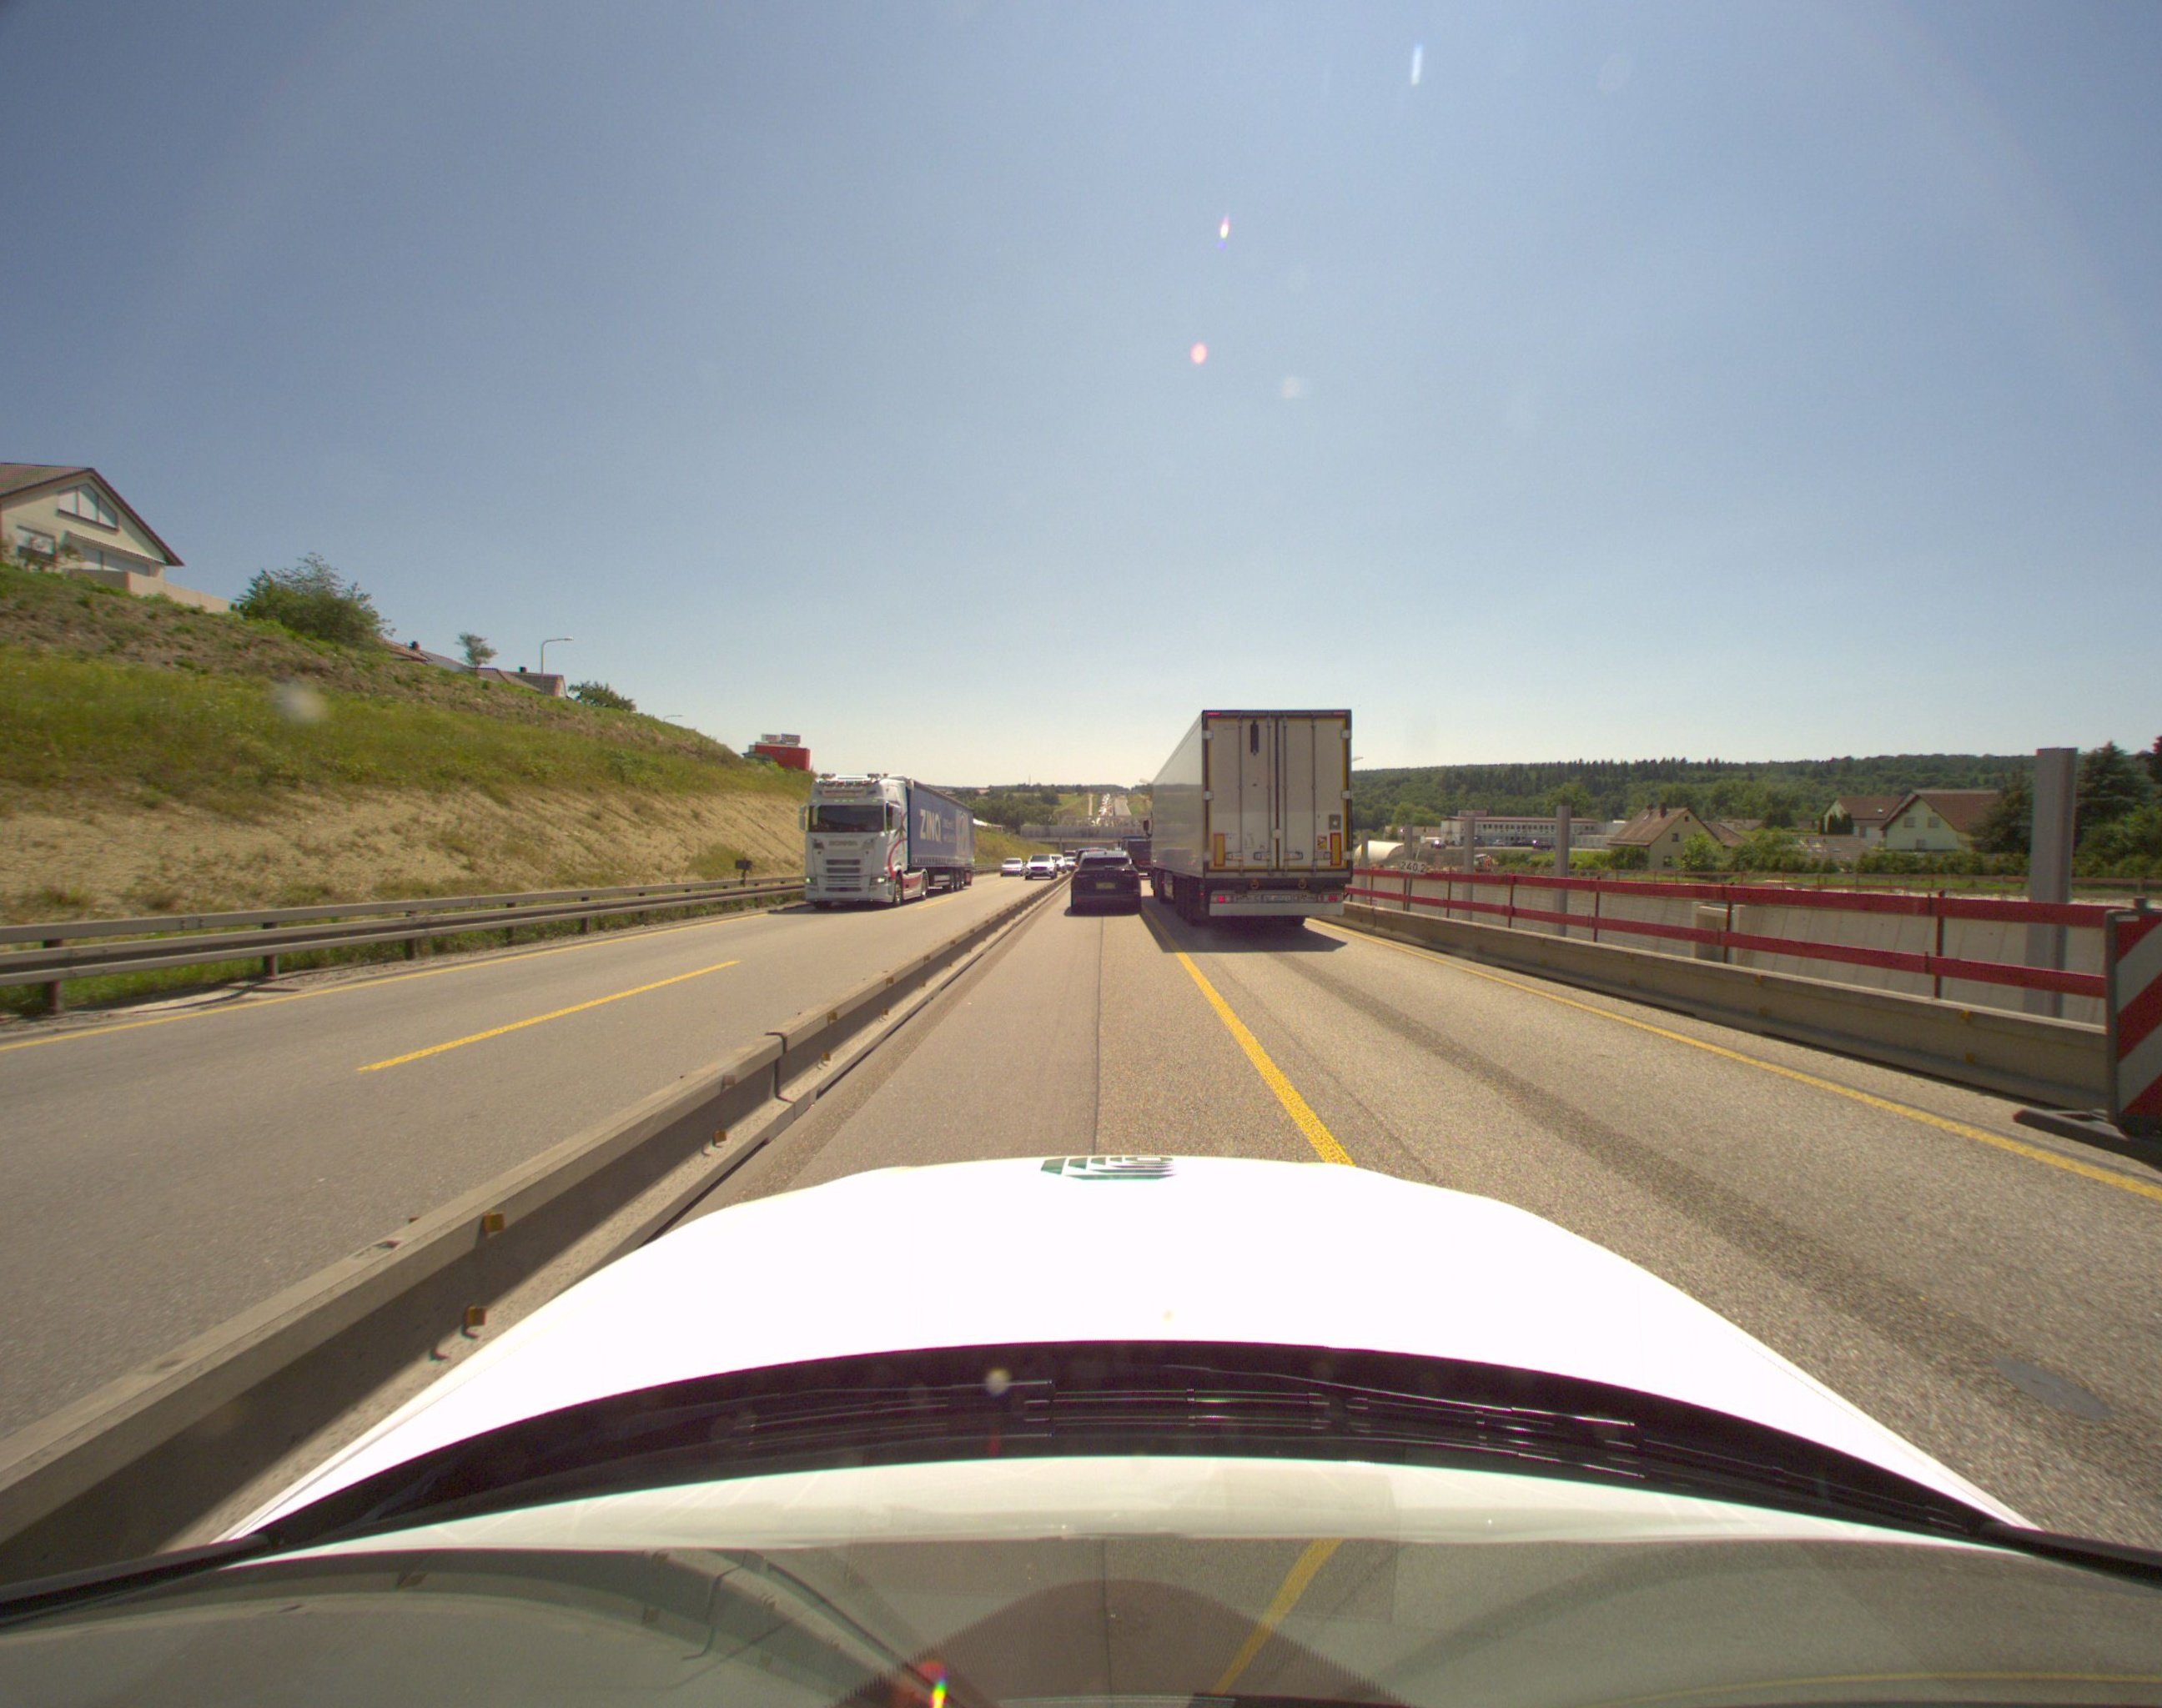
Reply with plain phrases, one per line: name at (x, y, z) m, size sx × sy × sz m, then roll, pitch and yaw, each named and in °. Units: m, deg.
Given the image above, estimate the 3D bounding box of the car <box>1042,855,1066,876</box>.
car at (-2.299, 0.992, 71.373) m, size 1.884 × 1.708 × 4.561 m, roll 0°, pitch 0°, yaw 1°

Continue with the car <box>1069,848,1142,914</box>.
car at (0.653, 0.662, 21.770) m, size 1.794 × 1.620 × 3.298 m, roll -1°, pitch 0°, yaw 1°

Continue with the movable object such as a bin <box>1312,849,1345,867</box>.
movable object such as a bin at (41.292, 0.646, 136.156) m, size 2.876 × 2.909 × 9.483 m, roll 0°, pitch 0°, yaw 2°

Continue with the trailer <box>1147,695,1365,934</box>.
trailer at (3.550, -0.608, 20.978) m, size 2.791 × 4.058 × 14.118 m, roll -1°, pitch -1°, yaw 1°

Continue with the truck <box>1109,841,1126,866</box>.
truck at (5.948, -0.122, 134.211) m, size 2.509 × 3.959 × 7.600 m, roll 1°, pitch 0°, yaw 1°

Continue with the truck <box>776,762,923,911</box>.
truck at (-6.951, -0.488, 25.136) m, size 3.228 × 4.160 × 4.248 m, roll -1°, pitch 0°, yaw 1°

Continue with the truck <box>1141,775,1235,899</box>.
truck at (3.716, -0.530, 29.372) m, size 2.767 × 4.058 × 4.905 m, roll -1°, pitch -1°, yaw 1°

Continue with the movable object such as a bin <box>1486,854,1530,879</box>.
movable object such as a bin at (39.240, 1.127, 75.021) m, size 1.986 × 2.239 × 4.154 m, roll 0°, pitch 0°, yaw 2°

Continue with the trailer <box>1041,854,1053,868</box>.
trailer at (-5.030, 1.061, 120.845) m, size 1.642 × 2.025 × 4.268 m, roll -1°, pitch 0°, yaw -1°

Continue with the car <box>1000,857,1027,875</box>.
car at (-5.236, 0.895, 63.308) m, size 1.696 × 1.378 × 3.967 m, roll 0°, pitch 0°, yaw 1°

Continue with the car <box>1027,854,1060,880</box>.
car at (-2.398, 0.833, 53.323) m, size 1.805 × 1.638 × 4.364 m, roll -1°, pitch 0°, yaw 2°

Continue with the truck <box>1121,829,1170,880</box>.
truck at (4.305, 0.073, 56.461) m, size 2.803 × 3.135 × 12.843 m, roll -1°, pitch 0°, yaw 2°

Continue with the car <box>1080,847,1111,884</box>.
car at (0.781, 0.579, 42.800) m, size 1.469 × 1.795 × 3.300 m, roll -1°, pitch 0°, yaw 3°

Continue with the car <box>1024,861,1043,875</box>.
car at (-5.551, 1.630, 94.997) m, size 1.892 × 1.584 × 4.514 m, roll 0°, pitch 0°, yaw 1°

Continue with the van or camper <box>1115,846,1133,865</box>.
van or camper at (5.173, 0.170, 98.639) m, size 1.986 × 2.244 × 4.002 m, roll 1°, pitch 0°, yaw 2°

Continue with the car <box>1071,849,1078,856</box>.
car at (-1.777, -0.489, 221.225) m, size 1.726 × 1.794 × 3.581 m, roll 0°, pitch 0°, yaw 1°

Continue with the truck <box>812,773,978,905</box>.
truck at (-6.824, -0.465, 32.986) m, size 3.232 × 4.160 × 13.980 m, roll -1°, pitch 0°, yaw 1°

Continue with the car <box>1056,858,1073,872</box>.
car at (-1.862, 1.250, 93.471) m, size 1.800 × 1.477 × 4.280 m, roll 0°, pitch 0°, yaw 1°
